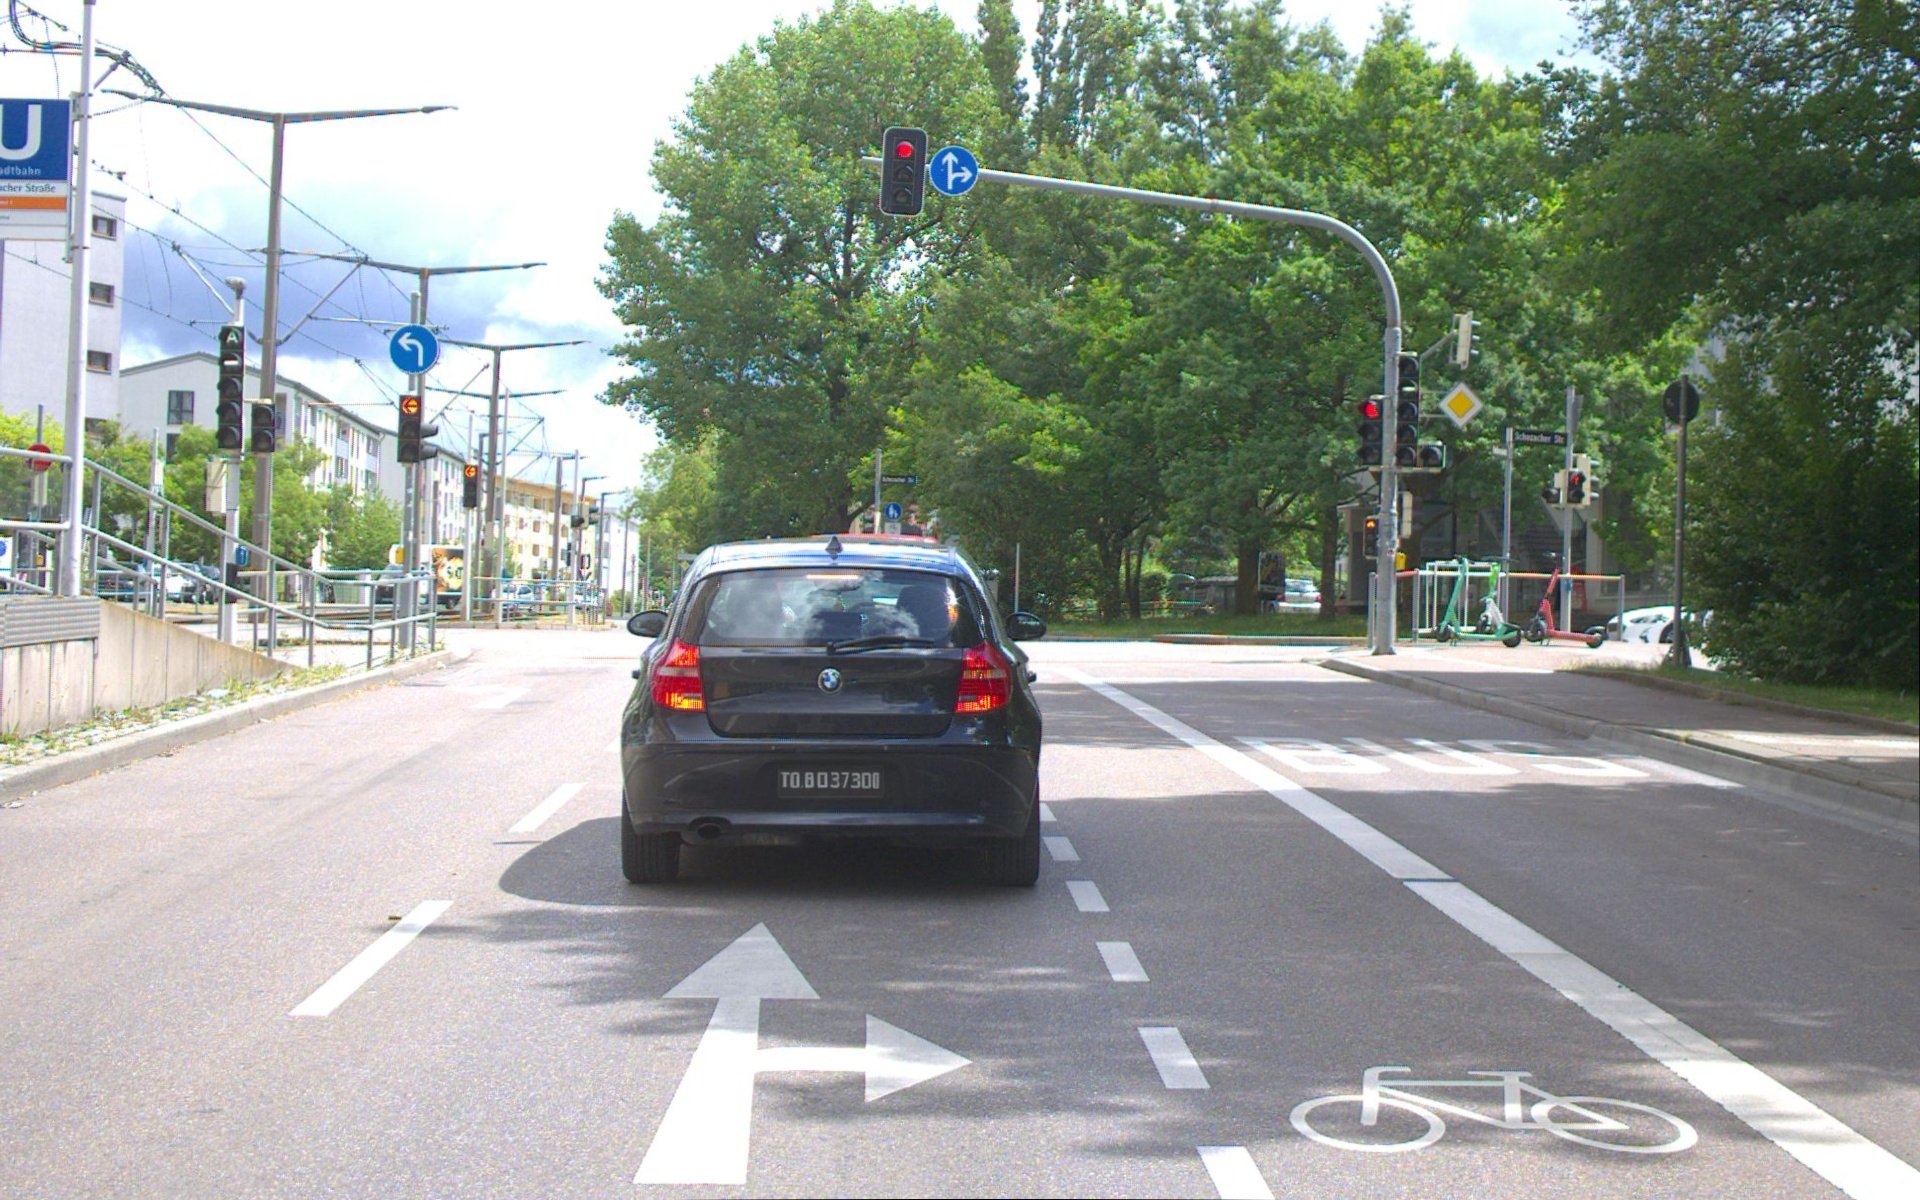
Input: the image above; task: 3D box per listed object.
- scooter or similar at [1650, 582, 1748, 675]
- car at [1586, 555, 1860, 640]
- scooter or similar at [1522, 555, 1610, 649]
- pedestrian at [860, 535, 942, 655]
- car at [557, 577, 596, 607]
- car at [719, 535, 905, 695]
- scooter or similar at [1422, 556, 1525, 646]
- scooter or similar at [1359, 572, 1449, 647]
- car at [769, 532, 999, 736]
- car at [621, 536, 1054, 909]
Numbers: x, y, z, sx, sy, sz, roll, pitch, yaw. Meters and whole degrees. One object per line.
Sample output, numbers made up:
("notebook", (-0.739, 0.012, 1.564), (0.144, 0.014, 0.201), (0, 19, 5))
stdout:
("scooter or similar", (8.825, 0.344, 41.051), (1.148, 1.095, 0.332), (1, 1, -24))
("car", (14.172, -0.053, 63.962), (4.571, 1.521, 1.946), (0, 1, -11))
("scooter or similar", (8.145, 0.021, 46.209), (1.106, 1.253, 0.332), (0, 1, -12))
("pedestrian", (-0.710, -0.071, 41.743), (0.865, 1.437, 0.798), (1, 1, 8))
("car", (-21.898, -0.451, 196.568), (1.966, 1.590, 4.001), (1, 1, -3))
("car", (-1.416, 0.105, 32.744), (1.654, 1.414, 3.517), (1, 1, -3))
("scooter or similar", (6.770, 0.013, 45.338), (1.287, 1.185, 0.385), (0, 1, -16))
("scooter or similar", (5.711, 0.117, 44.212), (1.119, 0.954, 0.300), (0, 1, -16))
("car", (-0.546, 0.206, 25.923), (1.594, 1.414, 3.517), (1, 1, 0))
("car", (-0.454, 0.440, 15.033), (1.654, 1.414, 3.517), (1, 1, 1))
